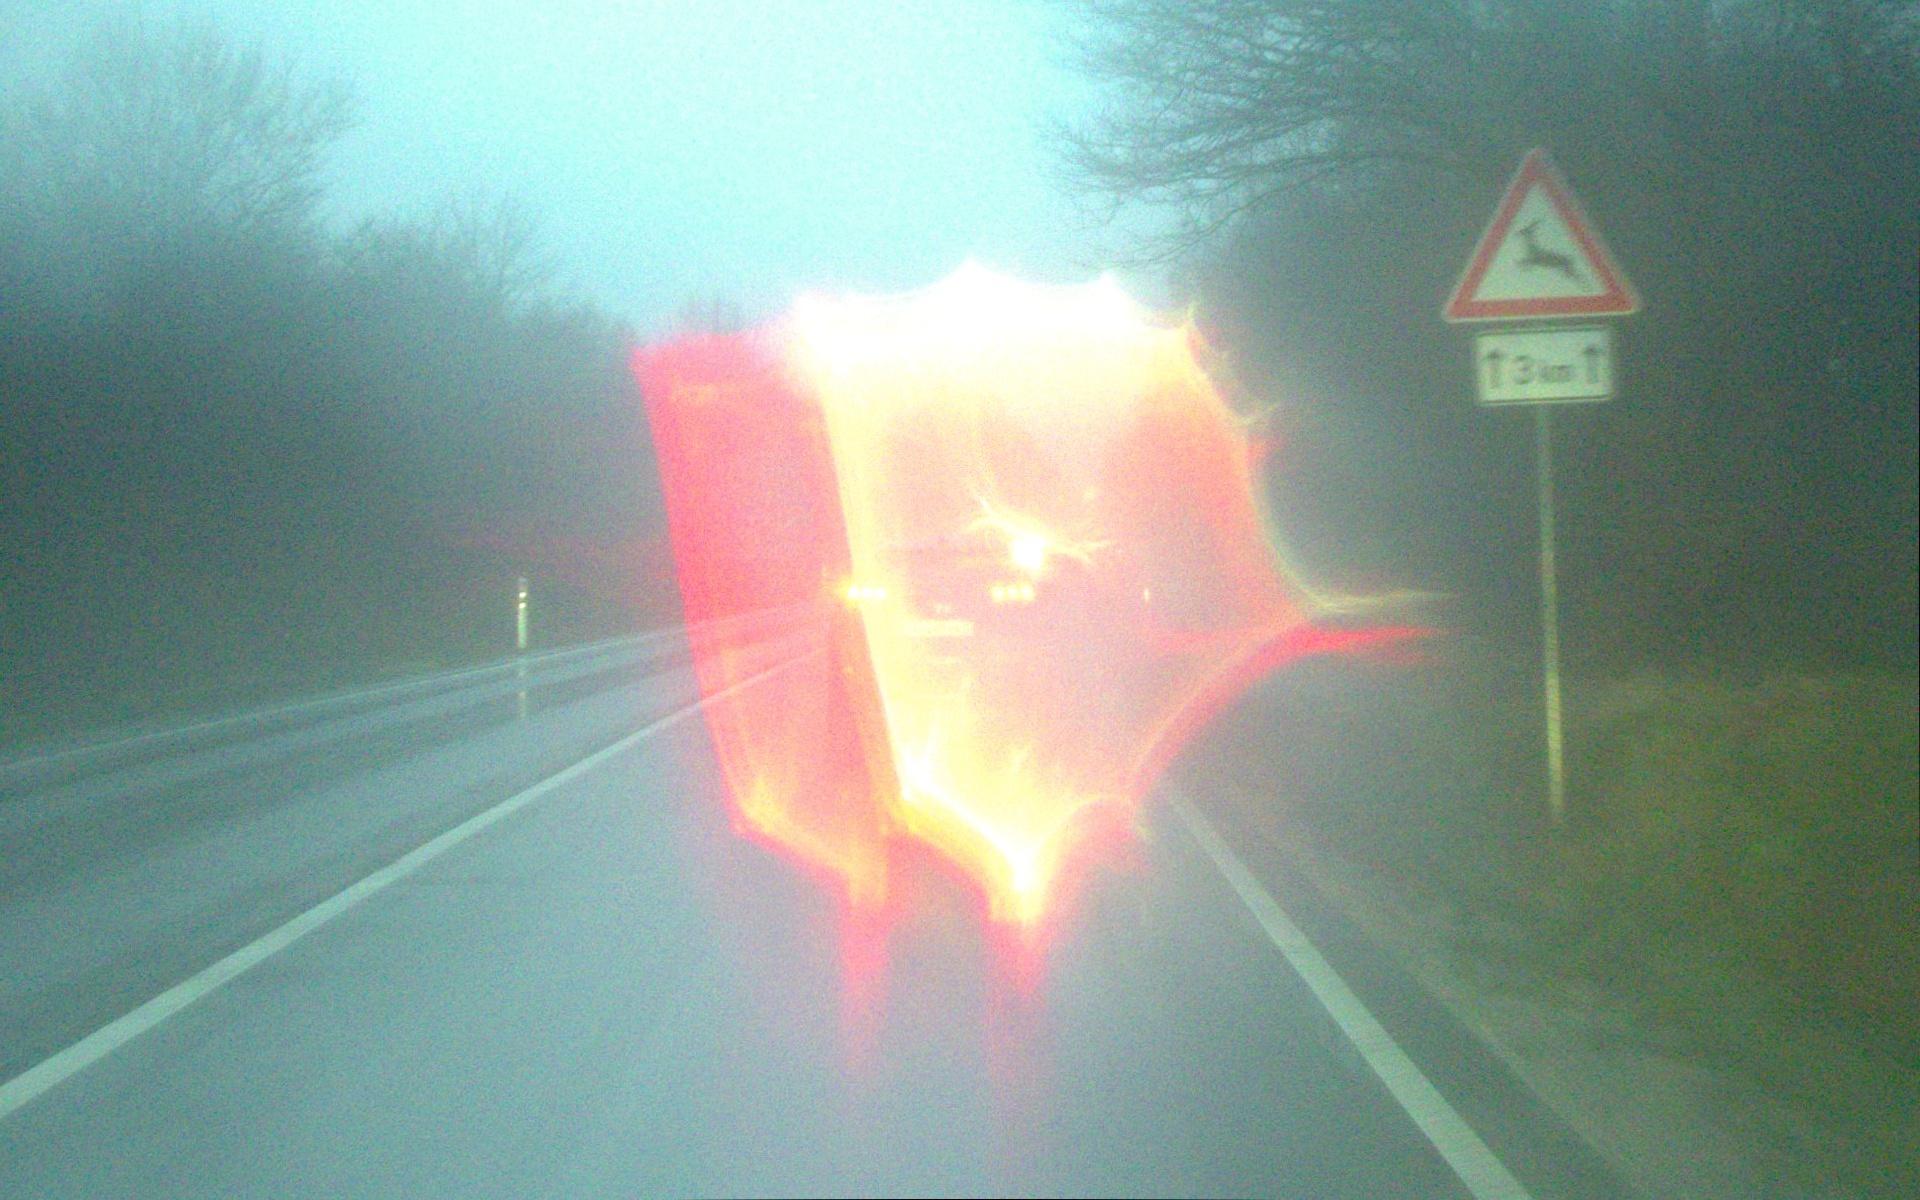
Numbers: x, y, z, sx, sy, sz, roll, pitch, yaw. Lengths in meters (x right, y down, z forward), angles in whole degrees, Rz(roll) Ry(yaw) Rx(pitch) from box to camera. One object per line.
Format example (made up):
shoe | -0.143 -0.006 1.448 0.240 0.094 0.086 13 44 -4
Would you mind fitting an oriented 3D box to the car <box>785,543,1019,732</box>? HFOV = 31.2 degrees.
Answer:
car | -0.405 0.251 28.007 1.679 1.385 4.098 -1 1 2
